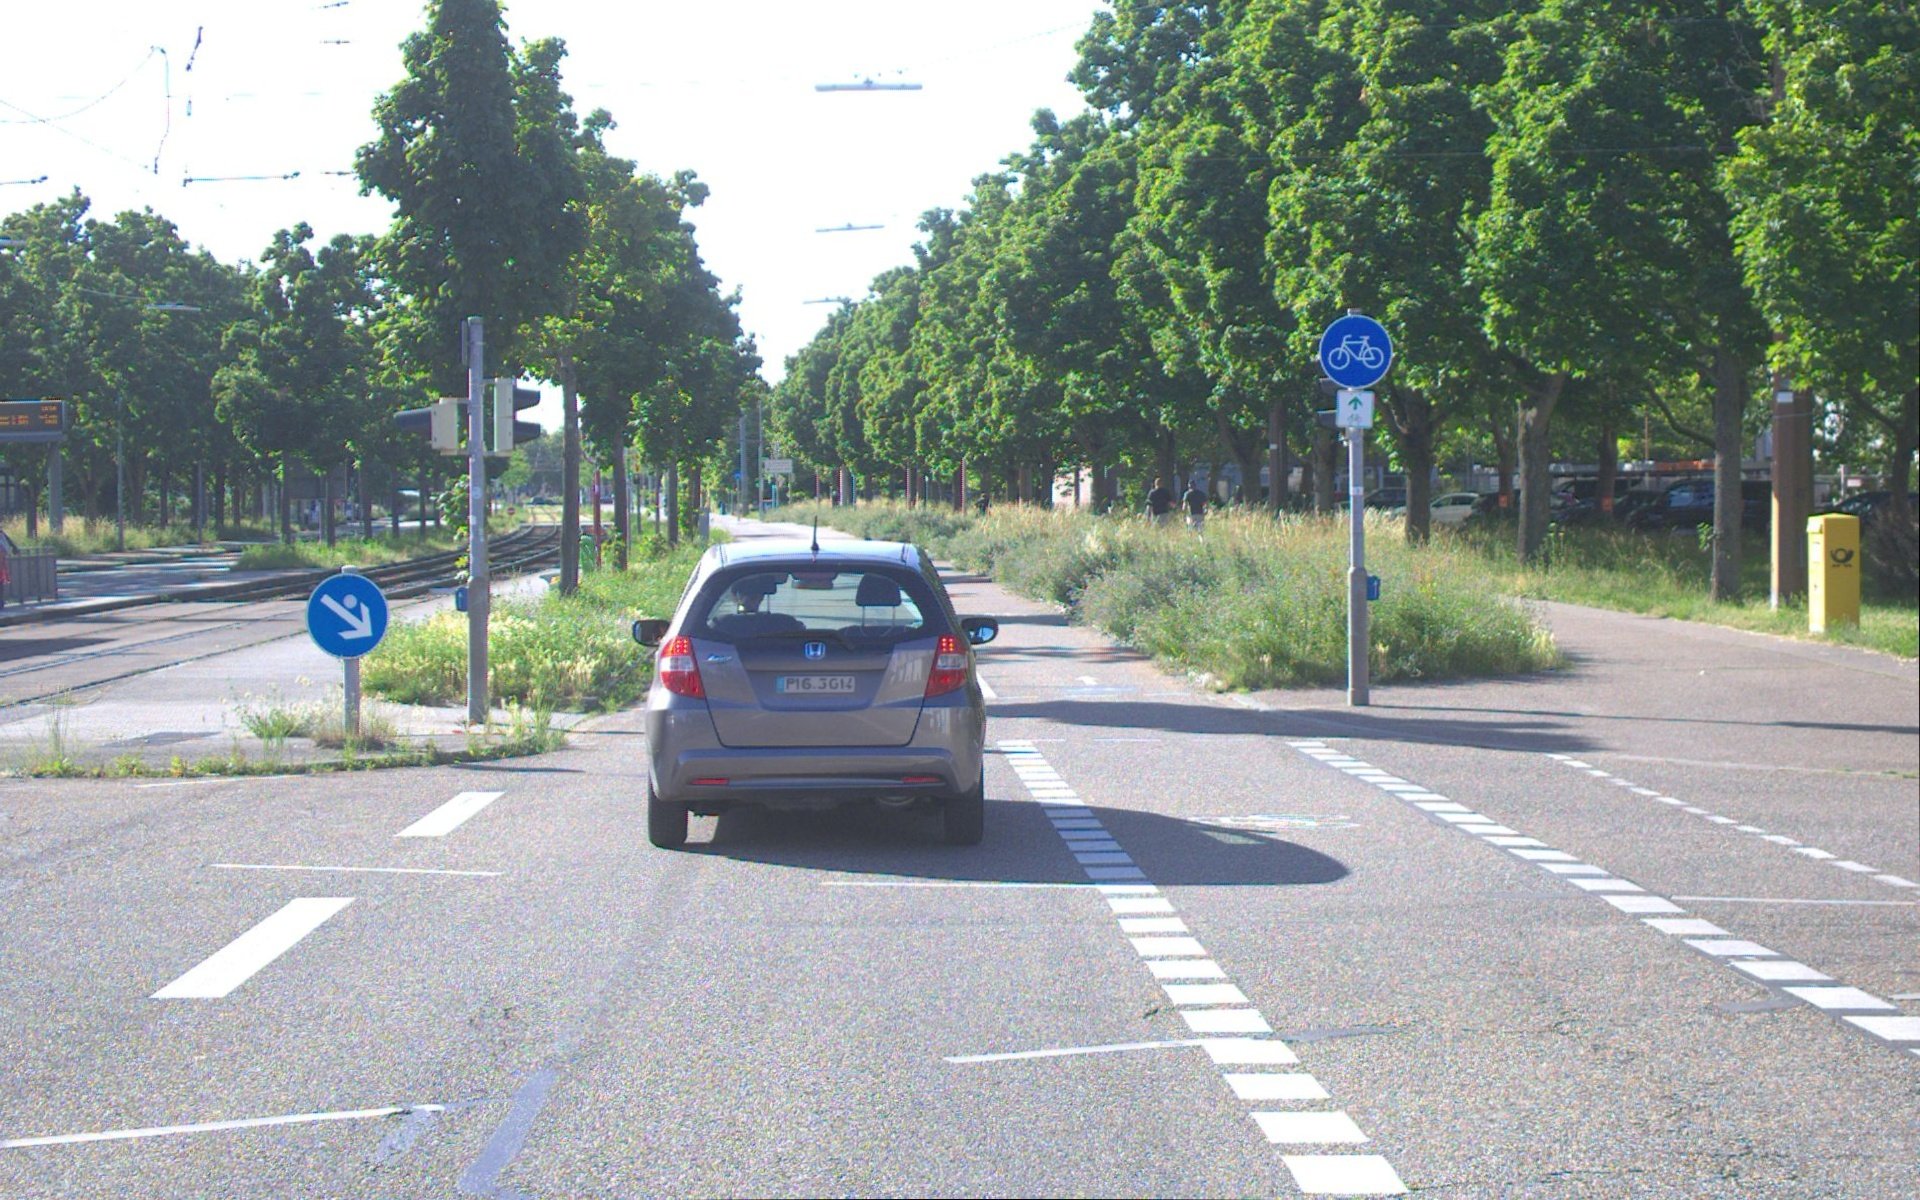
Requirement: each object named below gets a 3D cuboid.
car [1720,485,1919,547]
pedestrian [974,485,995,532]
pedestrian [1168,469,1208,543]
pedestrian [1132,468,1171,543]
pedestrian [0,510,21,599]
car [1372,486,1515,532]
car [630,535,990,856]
[{"bbox_3d":[19.690,-1.887,77.198,4.679,1.322,2.088,0,2,34],"label":"car"},{"bbox_3d":[0.890,-3.353,126.098,0.725,1.685,0.821,0,1,-3],"label":"pedestrian"},{"bbox_3d":[5.802,-2.390,87.420,0.882,1.877,0.875,-1,1,-4],"label":"pedestrian"},{"bbox_3d":[4.863,-2.401,87.402,0.882,1.877,0.875,-1,1,-4],"label":"pedestrian"},{"bbox_3d":[-15.808,-0.743,56.521,0.544,1.442,0.559,-1,1,-1],"label":"pedestrian"},{"bbox_3d":[17.011,-3.215,120.997,4.630,1.550,2.001,-1,2,-6],"label":"car"},{"bbox_3d":[-0.735,0.438,18.191,1.701,1.518,3.710,0,0,-1],"label":"car"}]
